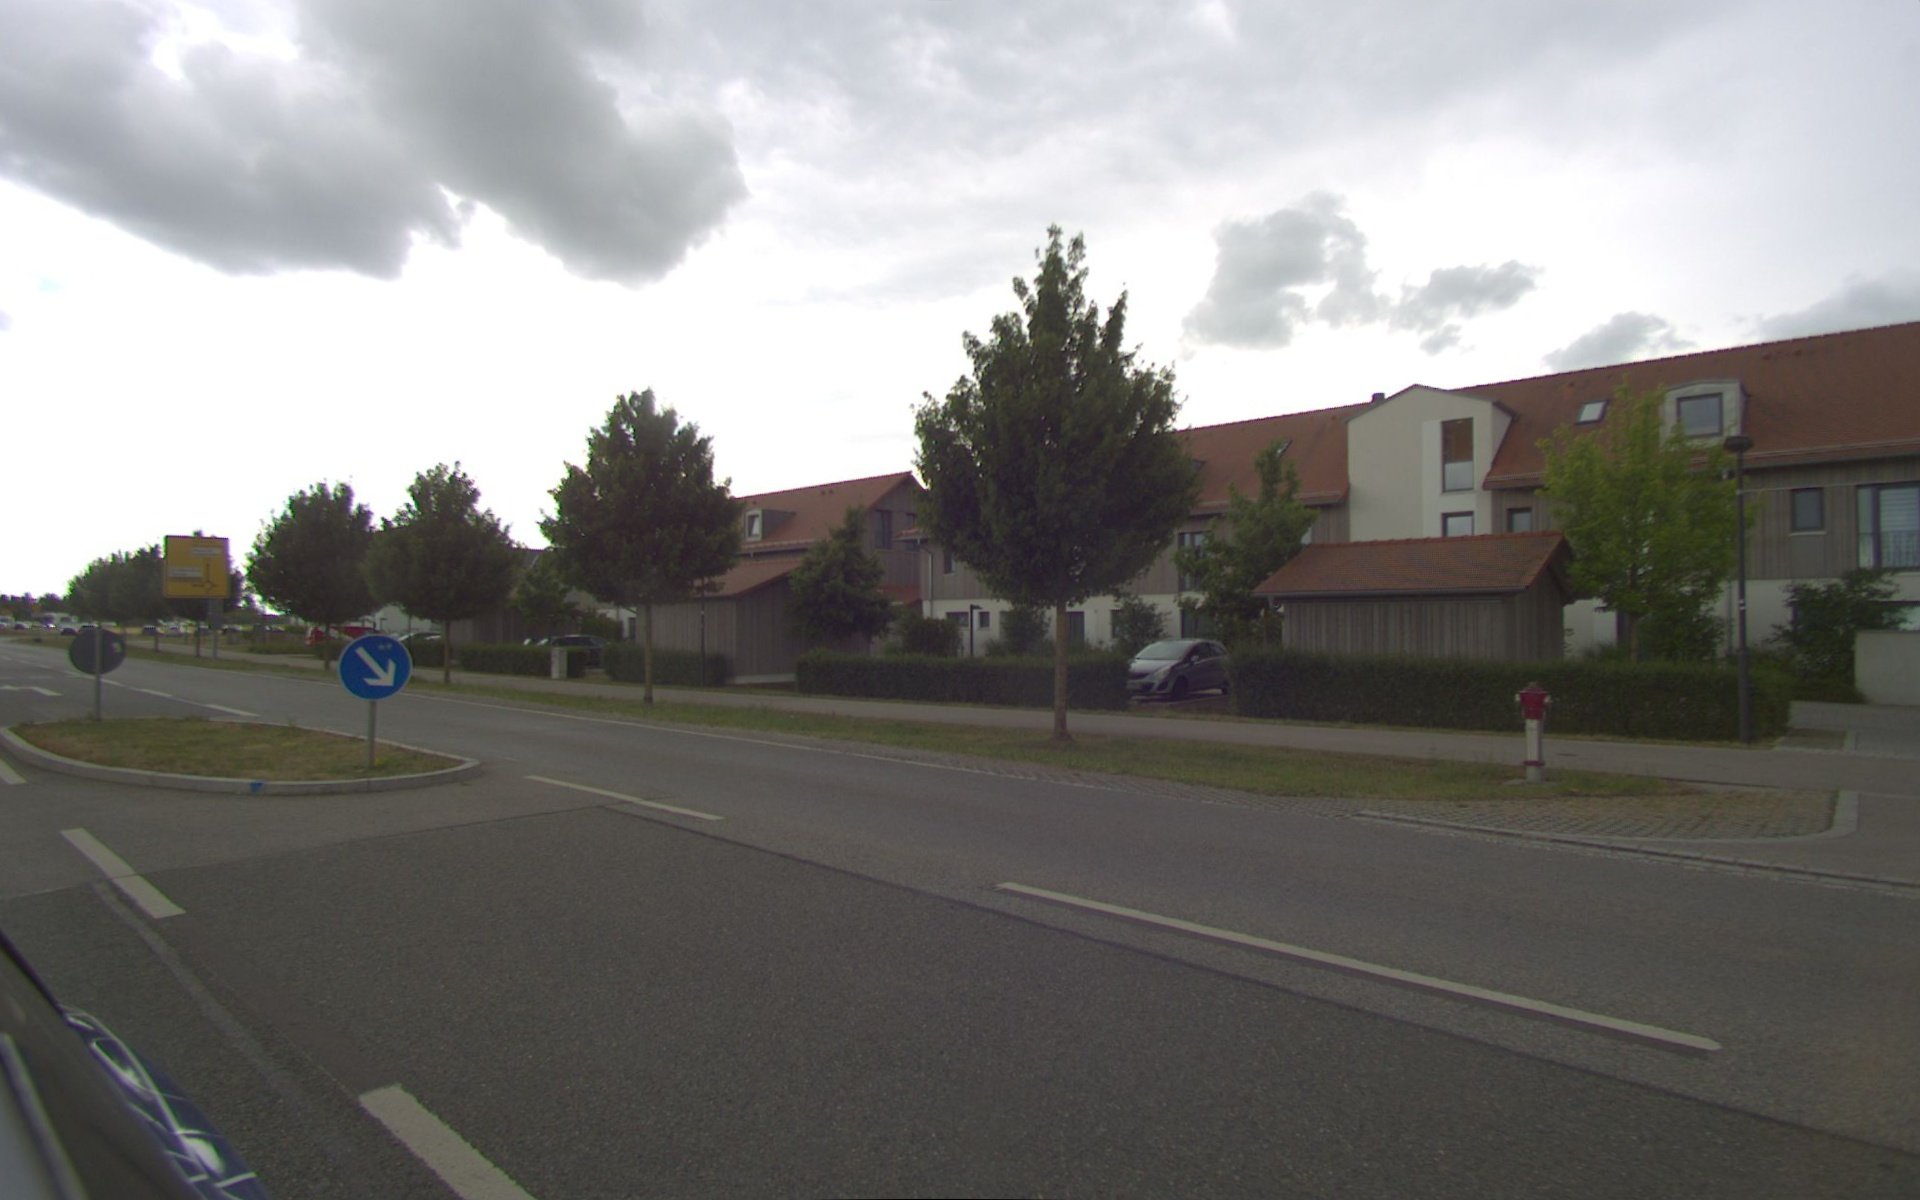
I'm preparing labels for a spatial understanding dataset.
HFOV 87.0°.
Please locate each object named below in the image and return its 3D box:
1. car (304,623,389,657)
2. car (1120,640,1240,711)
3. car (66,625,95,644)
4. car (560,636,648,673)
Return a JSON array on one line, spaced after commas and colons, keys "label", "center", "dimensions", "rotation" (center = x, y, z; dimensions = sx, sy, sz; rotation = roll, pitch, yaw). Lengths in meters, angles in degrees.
[{"label": "car", "center": [-40.876, 2.640, 67.481], "dimensions": [4.505, 2.029, 2.002], "rotation": [-1, 0, -44]}, {"label": "car", "center": [5.417, 1.779, 24.680], "dimensions": [1.300, 1.450, 3.546], "rotation": [-1, 0, 41]}, {"label": "car", "center": [-89.726, 3.459, 103.270], "dimensions": [1.971, 1.796, 4.003], "rotation": [-1, 0, -45]}, {"label": "car", "center": [-15.917, 2.420, 45.377], "dimensions": [1.300, 1.450, 3.546], "rotation": [-1, 0, 41]}]
